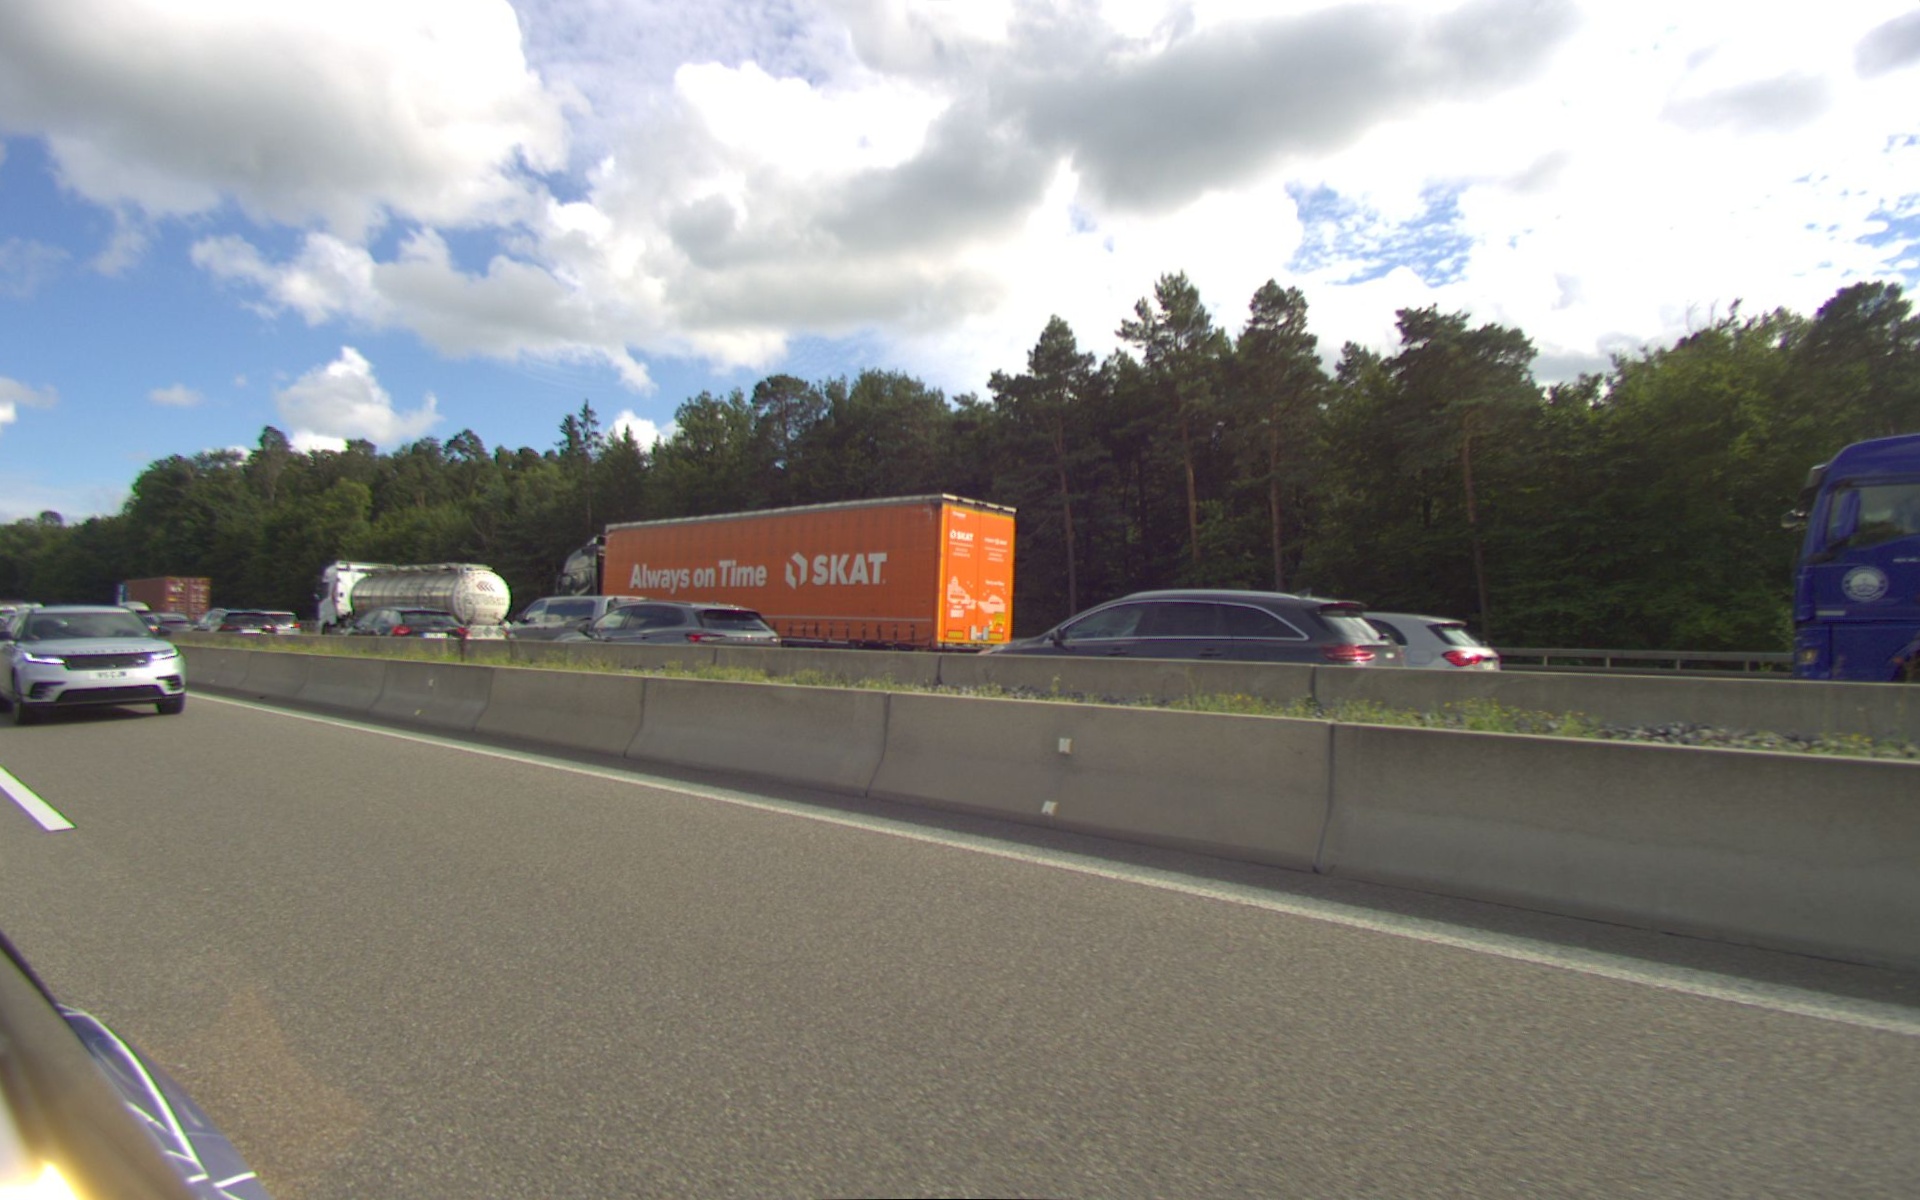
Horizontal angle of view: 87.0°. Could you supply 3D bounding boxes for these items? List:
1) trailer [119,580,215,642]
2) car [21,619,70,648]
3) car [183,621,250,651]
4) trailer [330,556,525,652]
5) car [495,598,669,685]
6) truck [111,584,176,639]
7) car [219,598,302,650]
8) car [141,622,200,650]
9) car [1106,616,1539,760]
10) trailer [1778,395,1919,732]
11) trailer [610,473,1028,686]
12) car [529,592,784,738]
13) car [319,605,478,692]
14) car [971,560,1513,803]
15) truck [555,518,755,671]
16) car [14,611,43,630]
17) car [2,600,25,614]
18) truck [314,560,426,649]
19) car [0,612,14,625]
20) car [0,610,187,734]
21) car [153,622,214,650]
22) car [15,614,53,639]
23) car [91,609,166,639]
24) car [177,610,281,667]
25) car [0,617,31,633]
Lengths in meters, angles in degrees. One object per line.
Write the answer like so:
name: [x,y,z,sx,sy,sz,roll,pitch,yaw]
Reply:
trailer: [-56.044,0.736,71.321,12.885,4.013,2.919,-1,0,41]
car: [-51.635,1.864,57.104,3.996,1.573,1.496,-1,-1,40]
car: [-36.360,1.736,49.476,4.326,1.362,1.672,-1,-1,40]
trailer: [-22.391,0.180,42.014,12.225,3.524,2.919,-1,0,41]
car: [-9.607,0.971,25.502,4.988,1.974,1.973,-1,0,41]
truck: [-61.216,0.862,75.855,5.149,4.016,2.925,-1,-1,41]
car: [-29.805,1.003,43.065,4.475,2.122,1.798,-1,-1,40]
car: [-42.930,1.935,54.980,4.387,1.408,1.672,-1,-1,40]
car: [4.408,0.971,12.882,4.900,1.493,1.706,-1,-1,41]
trailer: [14.402,-0.465,9.599,10.214,3.686,2.858,-1,-1,41]
trailer: [-4.303,-0.393,26.008,13.170,4.352,2.612,-1,0,41]
car: [-5.001,0.922,16.322,4.681,2.029,1.725,-1,0,41]
car: [-13.635,1.103,24.443,4.900,1.896,1.798,-1,-1,41]
car: [2.451,0.632,9.592,4.627,1.777,1.798,-1,-1,41]
truck: [-9.284,-0.096,30.376,6.714,4.102,2.587,-1,-1,41]
car: [-104.853,2.326,113.933,3.998,2.029,1.973,-1,-1,41]
car: [-137.379,1.021,146.869,3.998,2.029,1.973,-1,0,41]
truck: [-26.791,0.220,45.886,5.106,3.775,2.926,-1,-1,41]
car: [-119.334,2.295,125.954,3.611,1.609,1.924,-1,-1,41]
car: [-13.839,1.025,15.787,5.103,1.619,1.880,-2,-1,41]
car: [-40.878,1.878,53.272,4.387,1.408,1.672,-1,-1,40]
car: [-79.275,2.258,86.637,3.998,2.029,1.973,-1,0,41]
car: [-33.942,0.969,41.259,4.352,1.182,1.579,-1,-1,40]
car: [-24.290,1.241,33.554,4.902,1.759,1.797,-1,-1,42]
car: [-63.485,1.680,67.668,3.998,1.006,1.555,-1,-1,41]
